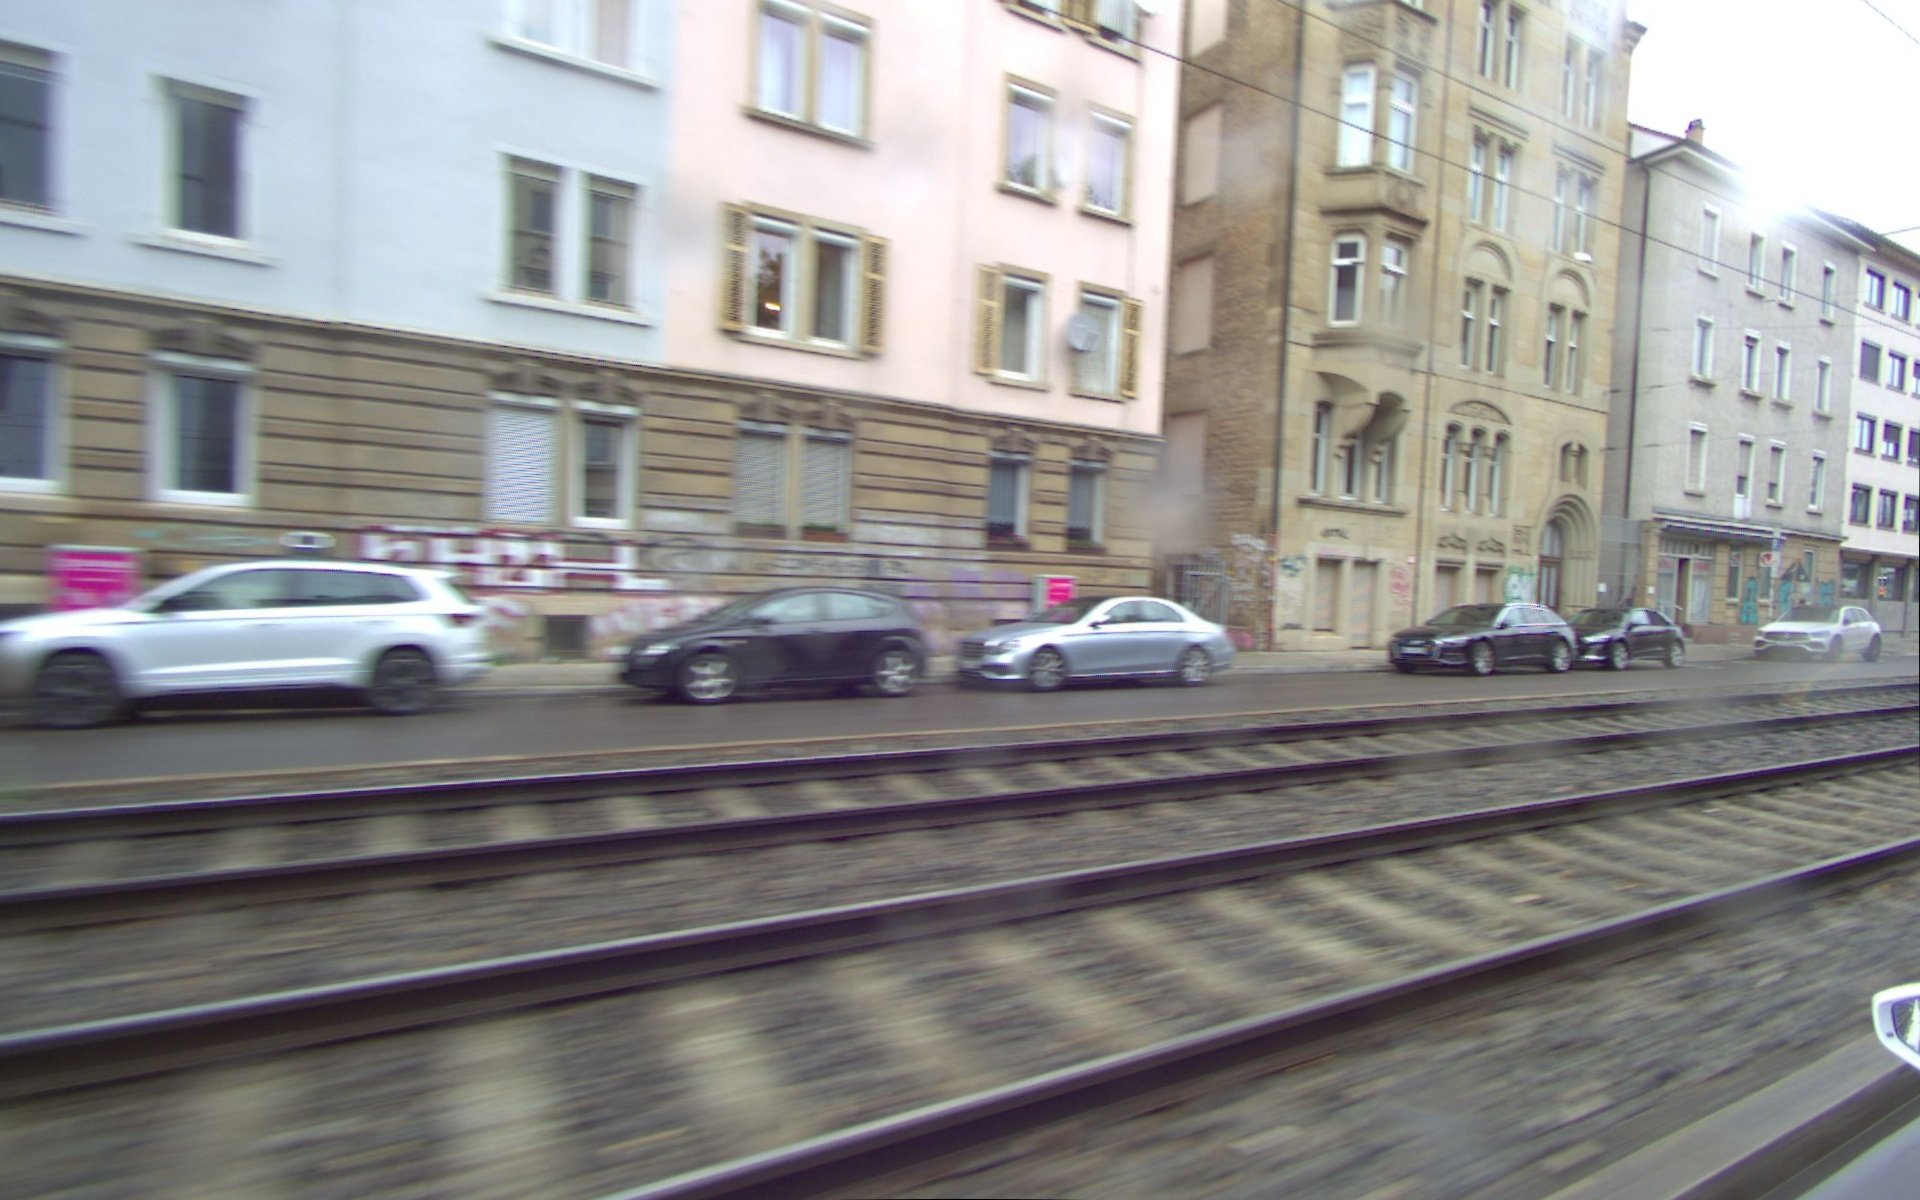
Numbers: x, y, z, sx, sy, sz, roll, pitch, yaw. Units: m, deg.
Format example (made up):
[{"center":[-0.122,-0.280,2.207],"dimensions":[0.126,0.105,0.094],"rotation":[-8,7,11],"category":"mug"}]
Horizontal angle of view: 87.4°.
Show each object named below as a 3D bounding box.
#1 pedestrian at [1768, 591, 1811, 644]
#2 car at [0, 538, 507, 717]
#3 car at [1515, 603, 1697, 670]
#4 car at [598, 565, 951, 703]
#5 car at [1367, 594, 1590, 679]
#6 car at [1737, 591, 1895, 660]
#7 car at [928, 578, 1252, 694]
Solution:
[{"center":[29.122,0.609,35.273],"dimensions":[0.973,1.774,0.797],"rotation":[2,2,-31],"category":"pedestrian"},{"center":[-7.270,0.259,10.548],"dimensions":[4.384,1.539,1.983],"rotation":[2,2,-31],"category":"car"},{"center":[15.648,0.873,24.289],"dimensions":[4.189,1.394,1.983],"rotation":[2,2,-31],"category":"car"},{"center":[-2.434,0.423,13.351],"dimensions":[4.160,1.539,1.983],"rotation":[2,2,-31],"category":"car"},{"center":[10.993,0.766,21.232],"dimensions":[4.622,1.539,1.983],"rotation":[2,2,-31],"category":"car"},{"center":[25.677,0.780,30.102],"dimensions":[5.011,1.864,1.984],"rotation":[2,2,-30],"category":"car"},{"center":[2.137,0.559,16.036],"dimensions":[4.934,1.539,1.983],"rotation":[2,2,-31],"category":"car"}]
